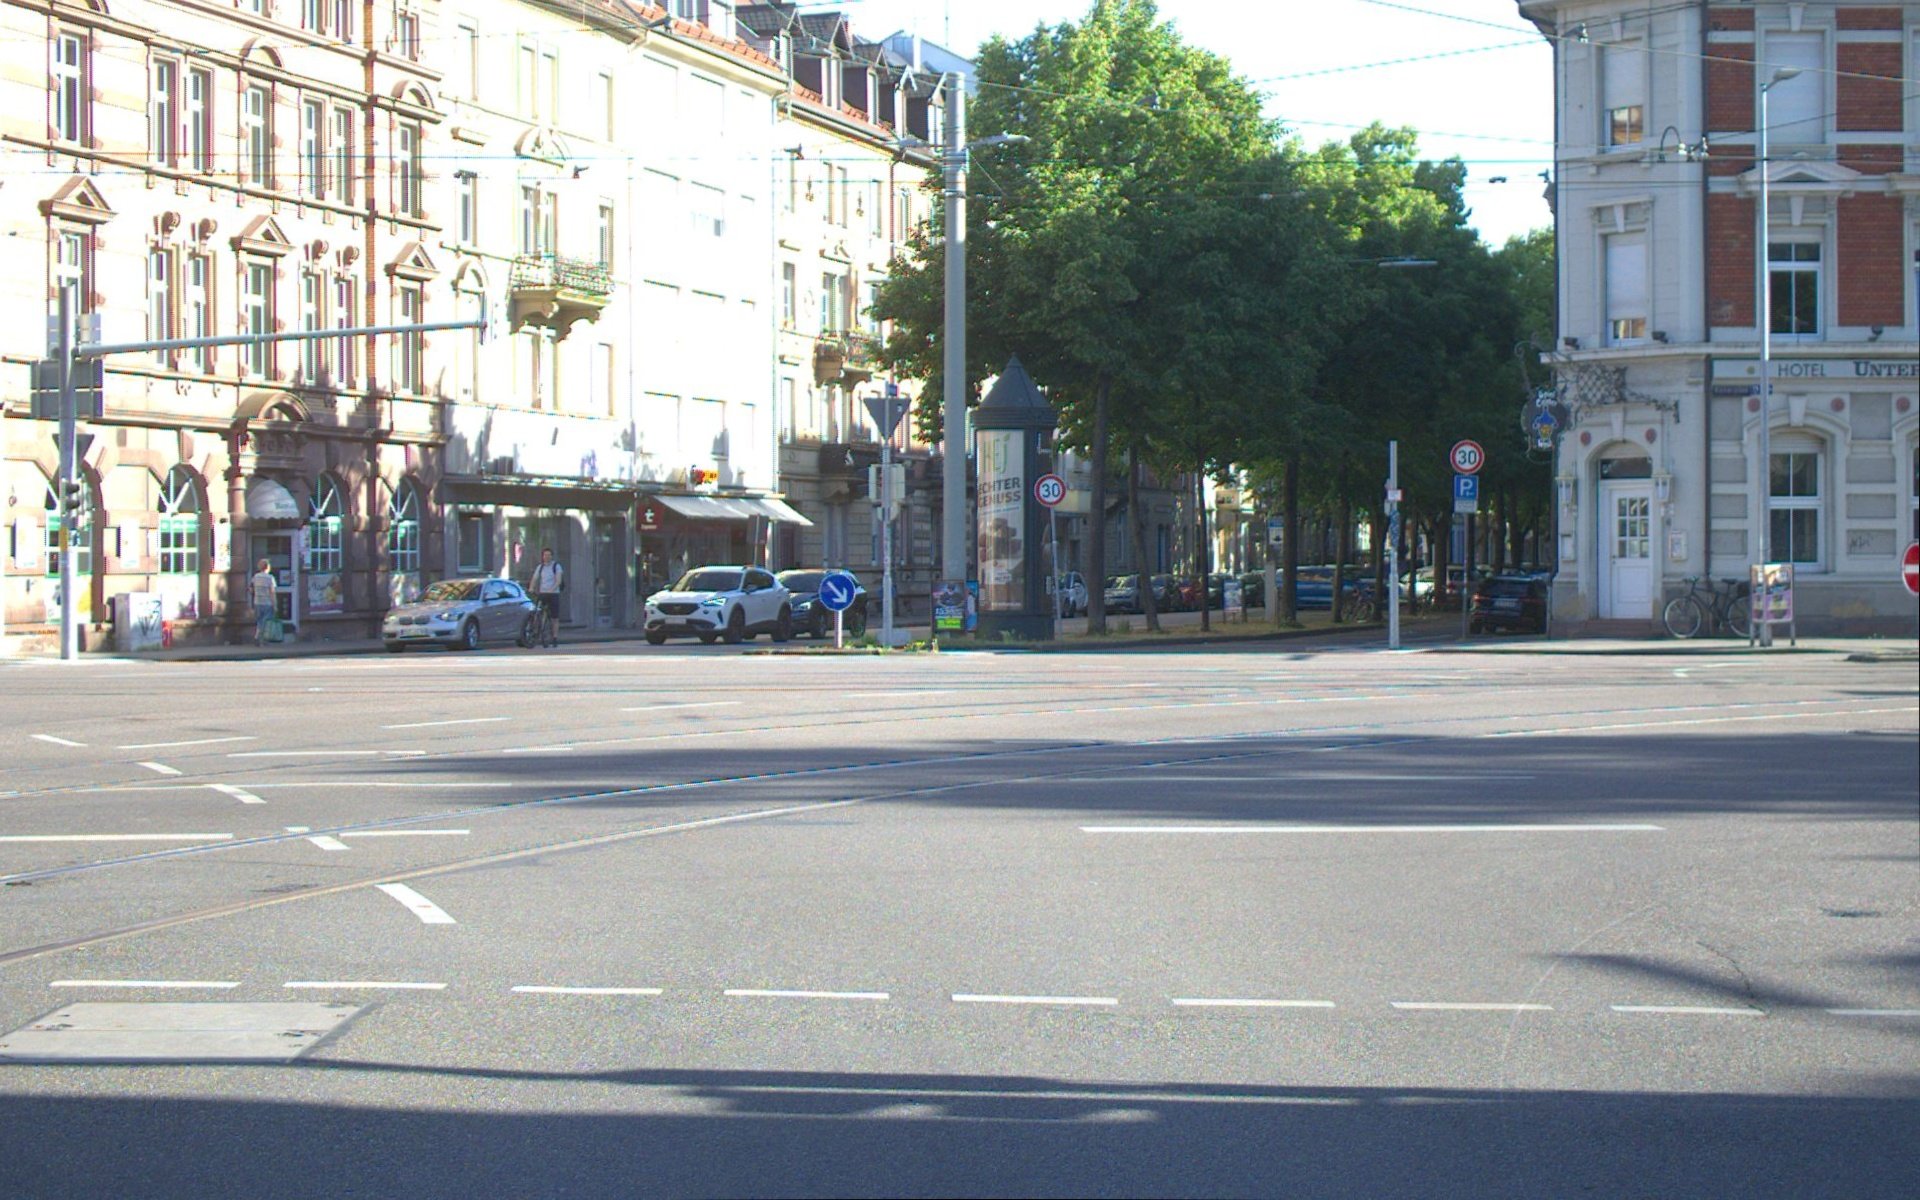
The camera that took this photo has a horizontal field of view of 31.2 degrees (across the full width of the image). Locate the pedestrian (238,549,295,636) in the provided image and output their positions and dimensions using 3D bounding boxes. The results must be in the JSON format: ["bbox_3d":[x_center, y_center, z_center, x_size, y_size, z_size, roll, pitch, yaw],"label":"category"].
[{"bbox_3d":[-13.448,-0.155,66.710,0.776,1.664,0.830,1,0,15],"label":"pedestrian"}]

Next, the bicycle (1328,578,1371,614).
[{"bbox_3d":[11.264,-0.109,99.483,0.636,1.018,1.847,1,1,-14],"label":"bicycle"}]

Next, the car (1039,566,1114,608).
[{"bbox_3d":[3.937,-0.449,115.479,1.678,1.349,3.588,0,1,17],"label":"car"}]

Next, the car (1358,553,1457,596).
[{"bbox_3d":[17.391,-1.007,133.506,3.582,1.642,1.681,0,1,17],"label":"car"}]

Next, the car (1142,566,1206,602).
[{"bbox_3d":[8.144,-0.621,130.747,1.678,1.349,3.588,0,1,17],"label":"car"}]

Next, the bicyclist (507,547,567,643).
[{"bbox_3d":[-8.011,-0.091,65.138,0.779,1.797,1.055,1,0,14],"label":"bicyclist"}]

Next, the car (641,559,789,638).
[{"bbox_3d":[-4.758,-0.056,67.313,1.678,1.478,3.768,0,1,17],"label":"car"}]

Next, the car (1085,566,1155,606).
[{"bbox_3d":[5.708,-0.506,122.441,1.678,1.349,3.588,0,1,17],"label":"car"}]

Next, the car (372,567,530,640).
[{"bbox_3d":[-9.869,0.052,66.909,1.678,1.349,3.588,0,1,17],"label":"car"}]

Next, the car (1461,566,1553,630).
[{"bbox_3d":[13.153,-0.062,82.574,1.678,1.478,3.945,0,1,16],"label":"car"}]

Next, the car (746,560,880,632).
[{"bbox_3d":[-3.116,-0.106,73.615,1.678,1.478,3.945,0,1,16],"label":"car"}]

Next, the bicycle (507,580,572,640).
[{"bbox_3d":[-7.975,0.181,65.264,0.702,1.114,1.634,1,1,13],"label":"bicycle"}]

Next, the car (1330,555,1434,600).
[{"bbox_3d":[15.716,-0.853,128.033,3.582,1.642,1.681,0,1,17],"label":"car"}]

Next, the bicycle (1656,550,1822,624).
[{"bbox_3d":[12.973,-0.211,57.275,2.554,1.170,0.819,1,0,-3],"label":"bicycle"}]

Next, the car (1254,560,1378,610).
[{"bbox_3d":[11.995,-0.515,115.678,3.905,1.642,1.681,0,1,17],"label":"car"}]

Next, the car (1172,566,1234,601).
[{"bbox_3d":[9.616,-0.660,135.777,1.678,1.349,3.588,0,1,17],"label":"car"}]
